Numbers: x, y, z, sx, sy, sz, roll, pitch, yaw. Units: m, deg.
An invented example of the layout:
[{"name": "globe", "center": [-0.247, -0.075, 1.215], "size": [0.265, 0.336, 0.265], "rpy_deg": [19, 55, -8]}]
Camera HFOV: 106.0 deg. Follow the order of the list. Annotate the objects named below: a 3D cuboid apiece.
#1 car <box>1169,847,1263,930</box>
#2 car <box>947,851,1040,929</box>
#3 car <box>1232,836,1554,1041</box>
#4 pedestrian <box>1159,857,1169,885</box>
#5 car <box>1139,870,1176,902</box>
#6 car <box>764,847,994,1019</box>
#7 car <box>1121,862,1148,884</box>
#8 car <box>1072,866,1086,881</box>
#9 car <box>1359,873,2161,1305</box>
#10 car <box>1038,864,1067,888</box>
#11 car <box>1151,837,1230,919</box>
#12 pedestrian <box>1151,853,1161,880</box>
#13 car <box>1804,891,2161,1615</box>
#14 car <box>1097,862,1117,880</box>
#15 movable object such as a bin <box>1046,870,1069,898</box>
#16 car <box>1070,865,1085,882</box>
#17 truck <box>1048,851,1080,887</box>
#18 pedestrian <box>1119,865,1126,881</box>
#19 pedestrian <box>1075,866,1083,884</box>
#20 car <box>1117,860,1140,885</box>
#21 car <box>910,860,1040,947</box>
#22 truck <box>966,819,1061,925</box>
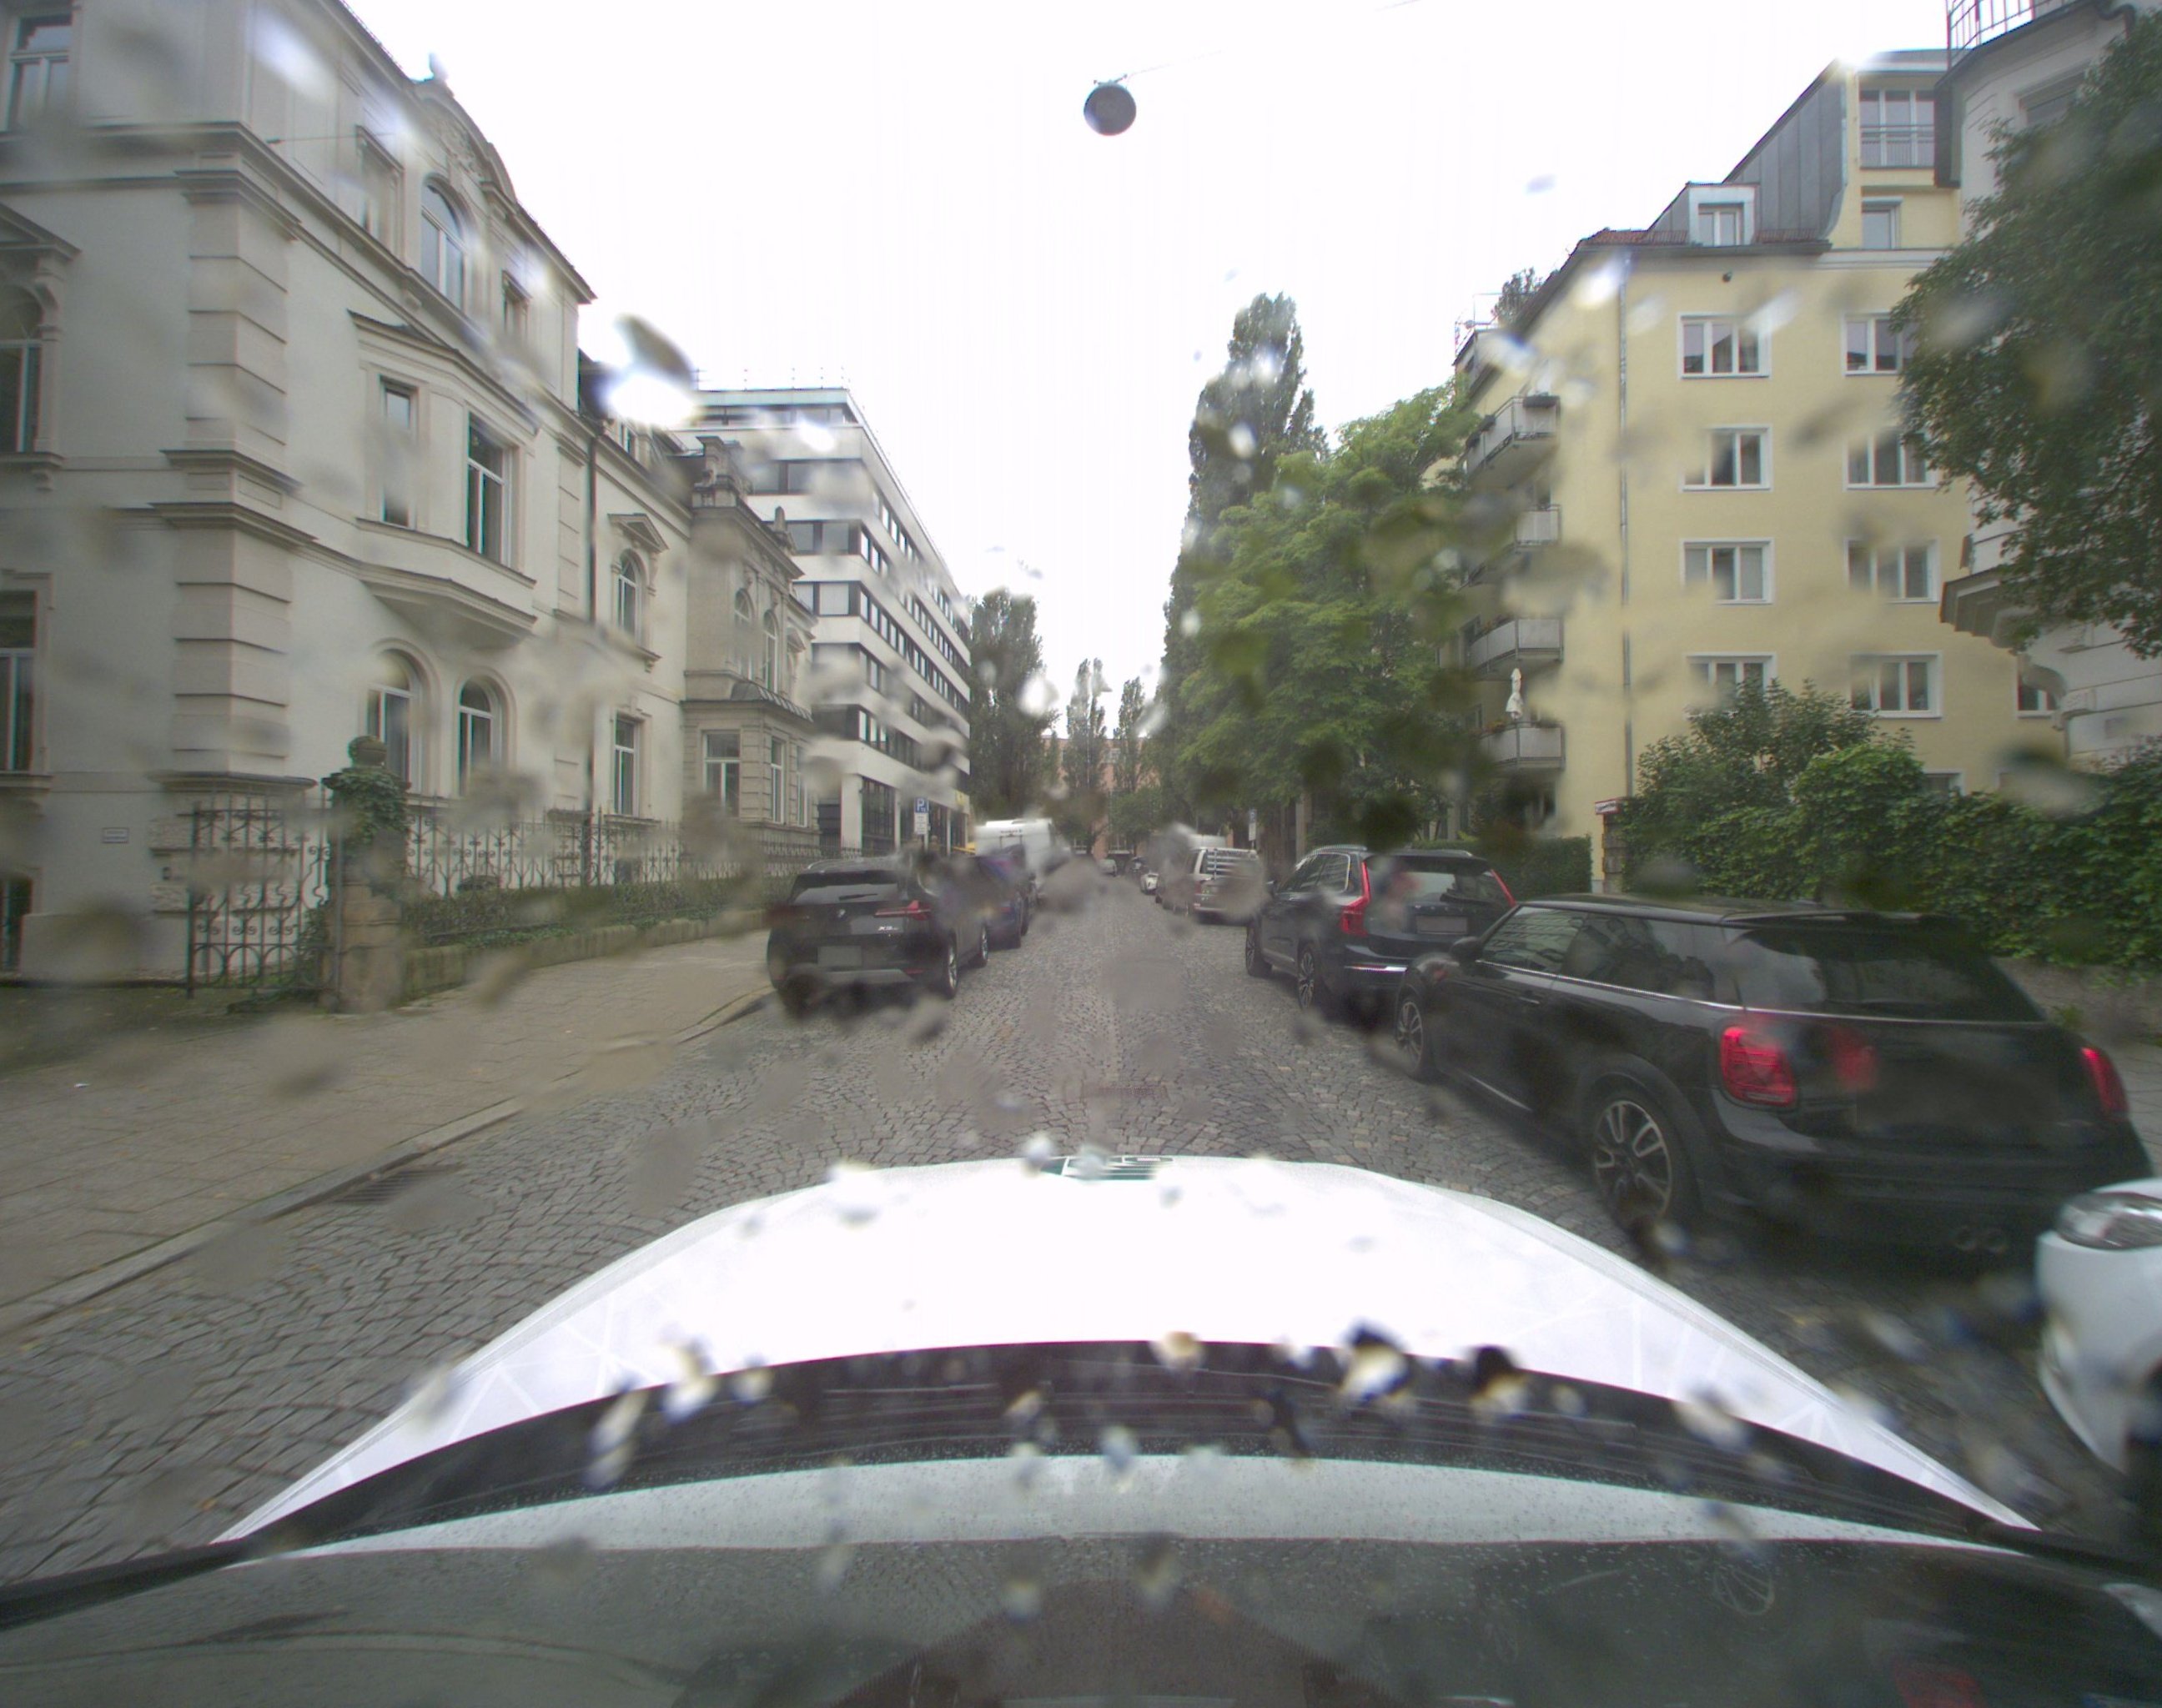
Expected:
[{"name": "car", "center": [3.602, 0.896, 22.536], "size": [1.794, 1.950, 4.860], "rpy_deg": [3, -1, 1]}, {"name": "car", "center": [-2.095, 0.848, 20.613], "size": [1.888, 1.751, 4.167], "rpy_deg": [0, -1, 0]}, {"name": "car", "center": [3.187, 0.790, 9.578], "size": [1.956, 1.759, 4.954], "rpy_deg": [1, -1, 1]}, {"name": "pedestrian", "center": [6.604, 1.374, 64.990], "size": [0.708, 2.191, 0.813], "rpy_deg": [1, -2, 3]}, {"name": "car", "center": [3.793, 1.576, 40.810], "size": [1.594, 1.486, 3.479], "rpy_deg": [1, -1, 1]}, {"name": "car", "center": [-2.274, 0.849, 10.434], "size": [1.767, 1.718, 4.390], "rpy_deg": [1, -1, 1]}, {"name": "car", "center": [3.877, 1.391, 59.451], "size": [1.860, 1.605, 3.274], "rpy_deg": [0, -1, 3]}, {"name": "car", "center": [-0.218, 1.951, 81.560], "size": [1.272, 1.541, 3.119], "rpy_deg": [1, -1, 1]}, {"name": "car", "center": [3.162, 0.877, 4.861], "size": [1.677, 1.453, 3.966], "rpy_deg": [2, -1, 1]}, {"name": "car", "center": [-1.780, 1.407, 52.025], "size": [1.656, 1.455, 3.548], "rpy_deg": [1, -1, 1]}, {"name": "car", "center": [3.669, 0.769, 28.298], "size": [1.888, 2.426, 5.611], "rpy_deg": [4, 0, 1]}, {"name": "pedestrian", "center": [6.898, 1.163, 74.856], "size": [0.708, 2.425, 0.814], "rpy_deg": [-3, 1, 3]}, {"name": "car", "center": [3.101, 0.787, 0.257], "size": [1.769, 1.429, 4.387], "rpy_deg": [1, -1, -2]}, {"name": "car", "center": [2.832, 1.834, 88.052], "size": [1.988, 1.936, 4.002], "rpy_deg": [0, -1, 3]}, {"name": "movable object such as a bin", "center": [-1.145, 1.505, 40.679], "size": [1.060, 1.364, 1.290], "rpy_deg": [1, -2, 1]}, {"name": "car", "center": [-0.339, 1.844, 76.592], "size": [1.286, 1.540, 3.119], "rpy_deg": [1, -1, 1]}, {"name": "truck", "center": [-1.134, 1.063, 56.064], "size": [1.986, 2.347, 4.068], "rpy_deg": [1, -1, 1]}, {"name": "pedestrian", "center": [4.350, 1.993, 85.231], "size": [0.684, 1.687, 0.501], "rpy_deg": [1, -1, 5]}, {"name": "pedestrian", "center": [-0.189, 2.191, 85.017], "size": [0.722, 1.911, 0.641], "rpy_deg": [1, -2, 3]}, {"name": "car", "center": [3.913, 1.538, 67.364], "size": [1.860, 1.961, 4.002], "rpy_deg": [0, -1, 3]}, {"name": "car", "center": [-1.896, 0.883, 15.798], "size": [1.933, 1.459, 4.057], "rpy_deg": [1, -1, 0]}, {"name": "truck", "center": [-2.050, 0.567, 26.990], "size": [2.500, 3.032, 6.384], "rpy_deg": [-2, -1, 0]}]
